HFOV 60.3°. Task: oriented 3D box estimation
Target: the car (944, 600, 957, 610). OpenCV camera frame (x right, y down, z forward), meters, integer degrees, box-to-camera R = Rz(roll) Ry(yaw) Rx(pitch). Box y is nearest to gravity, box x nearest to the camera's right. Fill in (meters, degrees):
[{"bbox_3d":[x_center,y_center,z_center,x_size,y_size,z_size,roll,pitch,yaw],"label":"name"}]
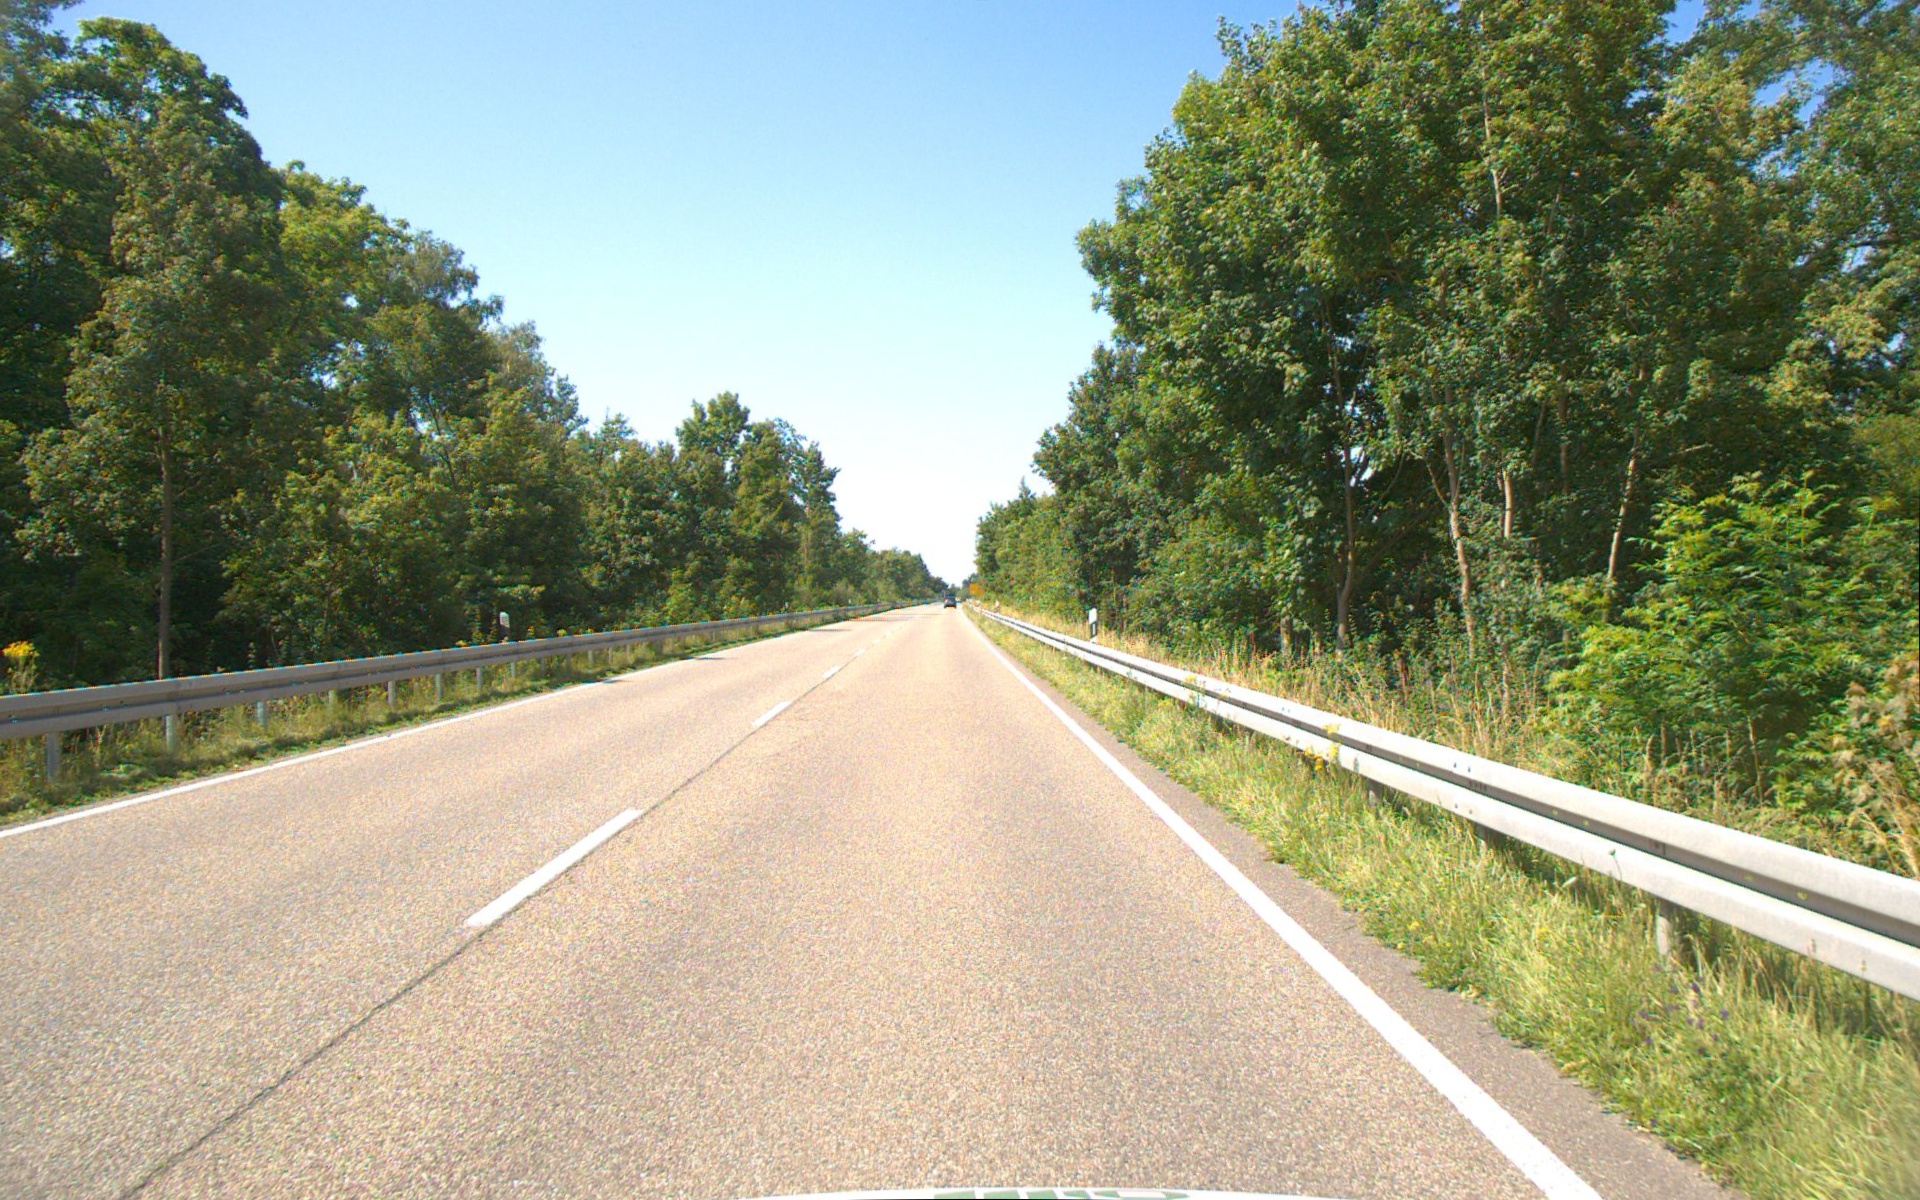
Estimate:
[{"bbox_3d":[-1.351,0.715,234.060,1.705,1.496,3.693,0,0,1],"label":"car"}]
